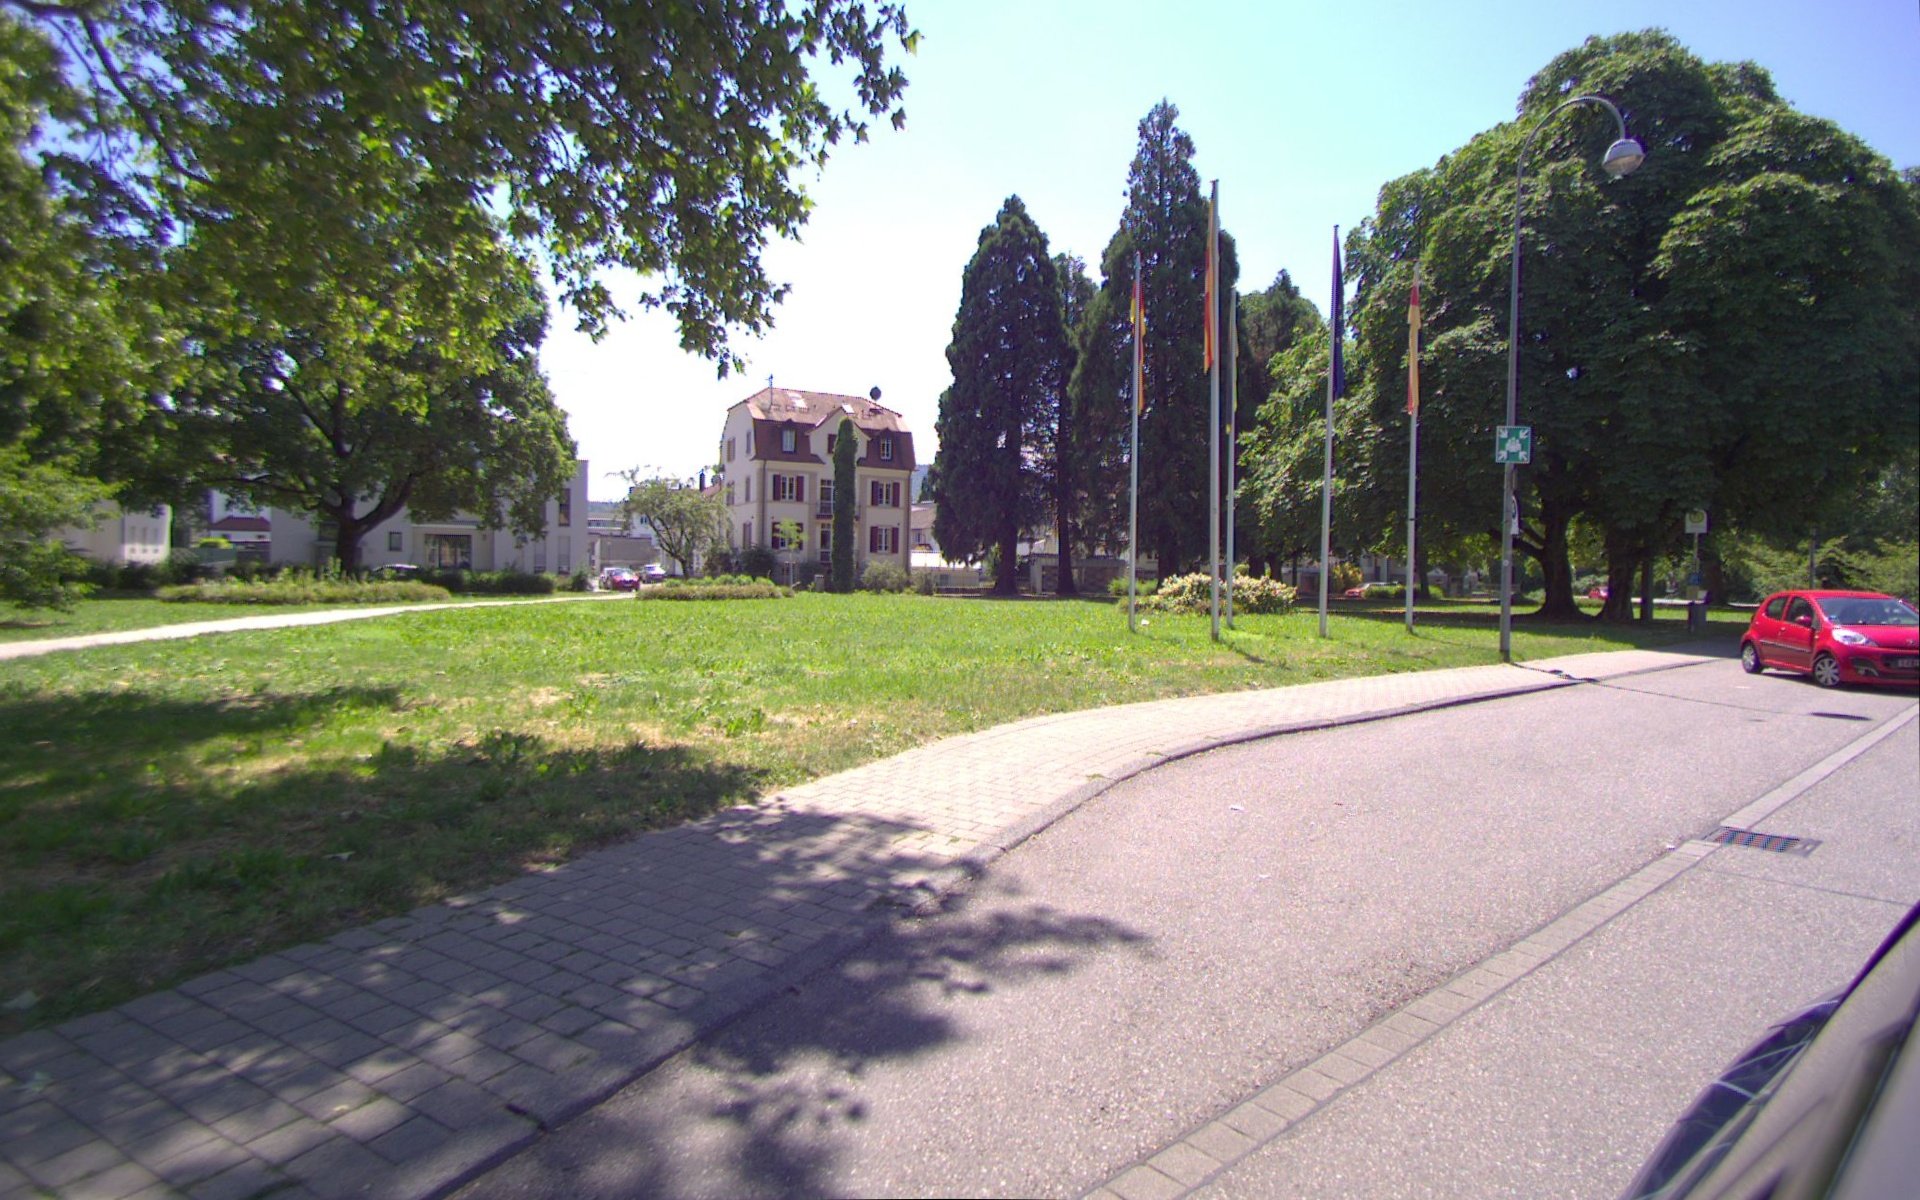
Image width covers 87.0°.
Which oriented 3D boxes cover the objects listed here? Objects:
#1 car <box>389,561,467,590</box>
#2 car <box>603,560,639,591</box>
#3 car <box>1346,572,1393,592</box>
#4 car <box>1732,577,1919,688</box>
[{"bbox_3d":[-28.077,-1.302,53.481,3.630,1.450,1.468,0,2,-28],"label":"car"},{"bbox_3d":[-22.385,-1.652,66.752,1.793,1.981,3.768,-2,3,-25],"label":"car"},{"bbox_3d":[35.221,-1.572,86.984,3.921,1.619,1.705,-2,3,-30],"label":"car"},{"bbox_3d":[13.961,0.421,15.828,1.700,1.496,3.688,2,2,16],"label":"car"}]
